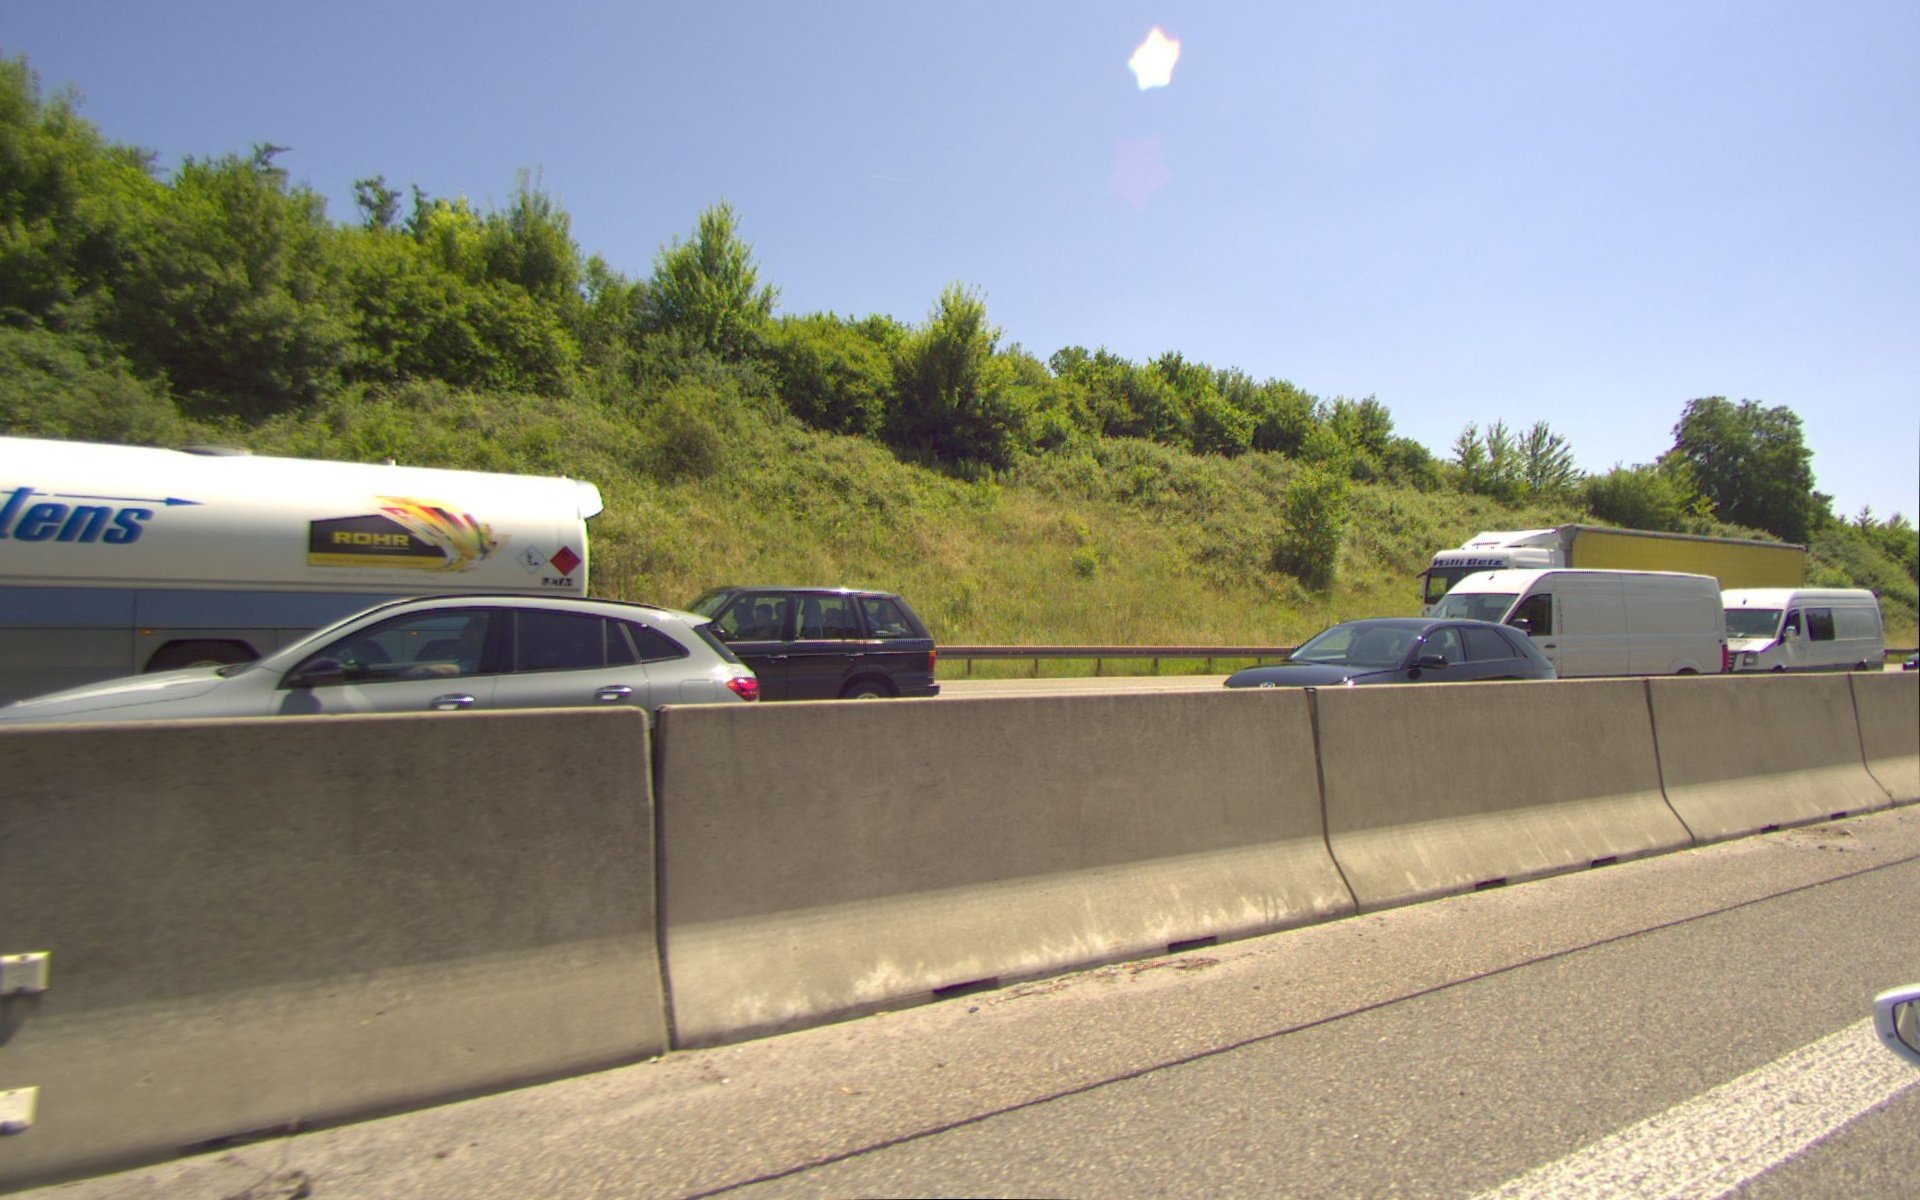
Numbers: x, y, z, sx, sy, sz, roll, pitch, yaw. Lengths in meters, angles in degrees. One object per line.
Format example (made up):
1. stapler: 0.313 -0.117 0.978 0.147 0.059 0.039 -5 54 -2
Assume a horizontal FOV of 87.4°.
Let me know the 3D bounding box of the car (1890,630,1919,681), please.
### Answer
1. car: 32.125 1.828 32.481 4.472 1.585 1.818 2 0 -31

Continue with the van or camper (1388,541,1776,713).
1. van or camper: 11.664 0.566 18.763 7.109 2.812 2.248 2 0 -21

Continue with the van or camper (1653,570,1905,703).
1. van or camper: 20.664 0.930 25.218 7.441 2.978 2.188 2 0 -28

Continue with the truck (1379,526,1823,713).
1. truck: 19.568 0.733 29.840 16.473 4.515 3.680 2 0 -29

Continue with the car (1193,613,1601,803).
1. car: 5.196 1.131 11.710 4.934 1.788 1.818 2 0 -31

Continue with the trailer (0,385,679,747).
1. trailer: -9.164 -0.330 12.543 10.556 3.783 2.597 1 0 -31

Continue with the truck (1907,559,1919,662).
1. truck: 46.539 0.623 45.395 8.500 4.575 2.929 2 0 -29

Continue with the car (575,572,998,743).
1. car: -2.067 0.659 12.330 4.702 1.751 1.988 2 0 -30

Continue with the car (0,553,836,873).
1. car: -3.355 0.594 6.608 4.707 1.517 1.817 2 0 -32

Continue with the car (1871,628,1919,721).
1. car: 20.940 1.561 20.721 4.934 1.788 1.818 2 0 -31
